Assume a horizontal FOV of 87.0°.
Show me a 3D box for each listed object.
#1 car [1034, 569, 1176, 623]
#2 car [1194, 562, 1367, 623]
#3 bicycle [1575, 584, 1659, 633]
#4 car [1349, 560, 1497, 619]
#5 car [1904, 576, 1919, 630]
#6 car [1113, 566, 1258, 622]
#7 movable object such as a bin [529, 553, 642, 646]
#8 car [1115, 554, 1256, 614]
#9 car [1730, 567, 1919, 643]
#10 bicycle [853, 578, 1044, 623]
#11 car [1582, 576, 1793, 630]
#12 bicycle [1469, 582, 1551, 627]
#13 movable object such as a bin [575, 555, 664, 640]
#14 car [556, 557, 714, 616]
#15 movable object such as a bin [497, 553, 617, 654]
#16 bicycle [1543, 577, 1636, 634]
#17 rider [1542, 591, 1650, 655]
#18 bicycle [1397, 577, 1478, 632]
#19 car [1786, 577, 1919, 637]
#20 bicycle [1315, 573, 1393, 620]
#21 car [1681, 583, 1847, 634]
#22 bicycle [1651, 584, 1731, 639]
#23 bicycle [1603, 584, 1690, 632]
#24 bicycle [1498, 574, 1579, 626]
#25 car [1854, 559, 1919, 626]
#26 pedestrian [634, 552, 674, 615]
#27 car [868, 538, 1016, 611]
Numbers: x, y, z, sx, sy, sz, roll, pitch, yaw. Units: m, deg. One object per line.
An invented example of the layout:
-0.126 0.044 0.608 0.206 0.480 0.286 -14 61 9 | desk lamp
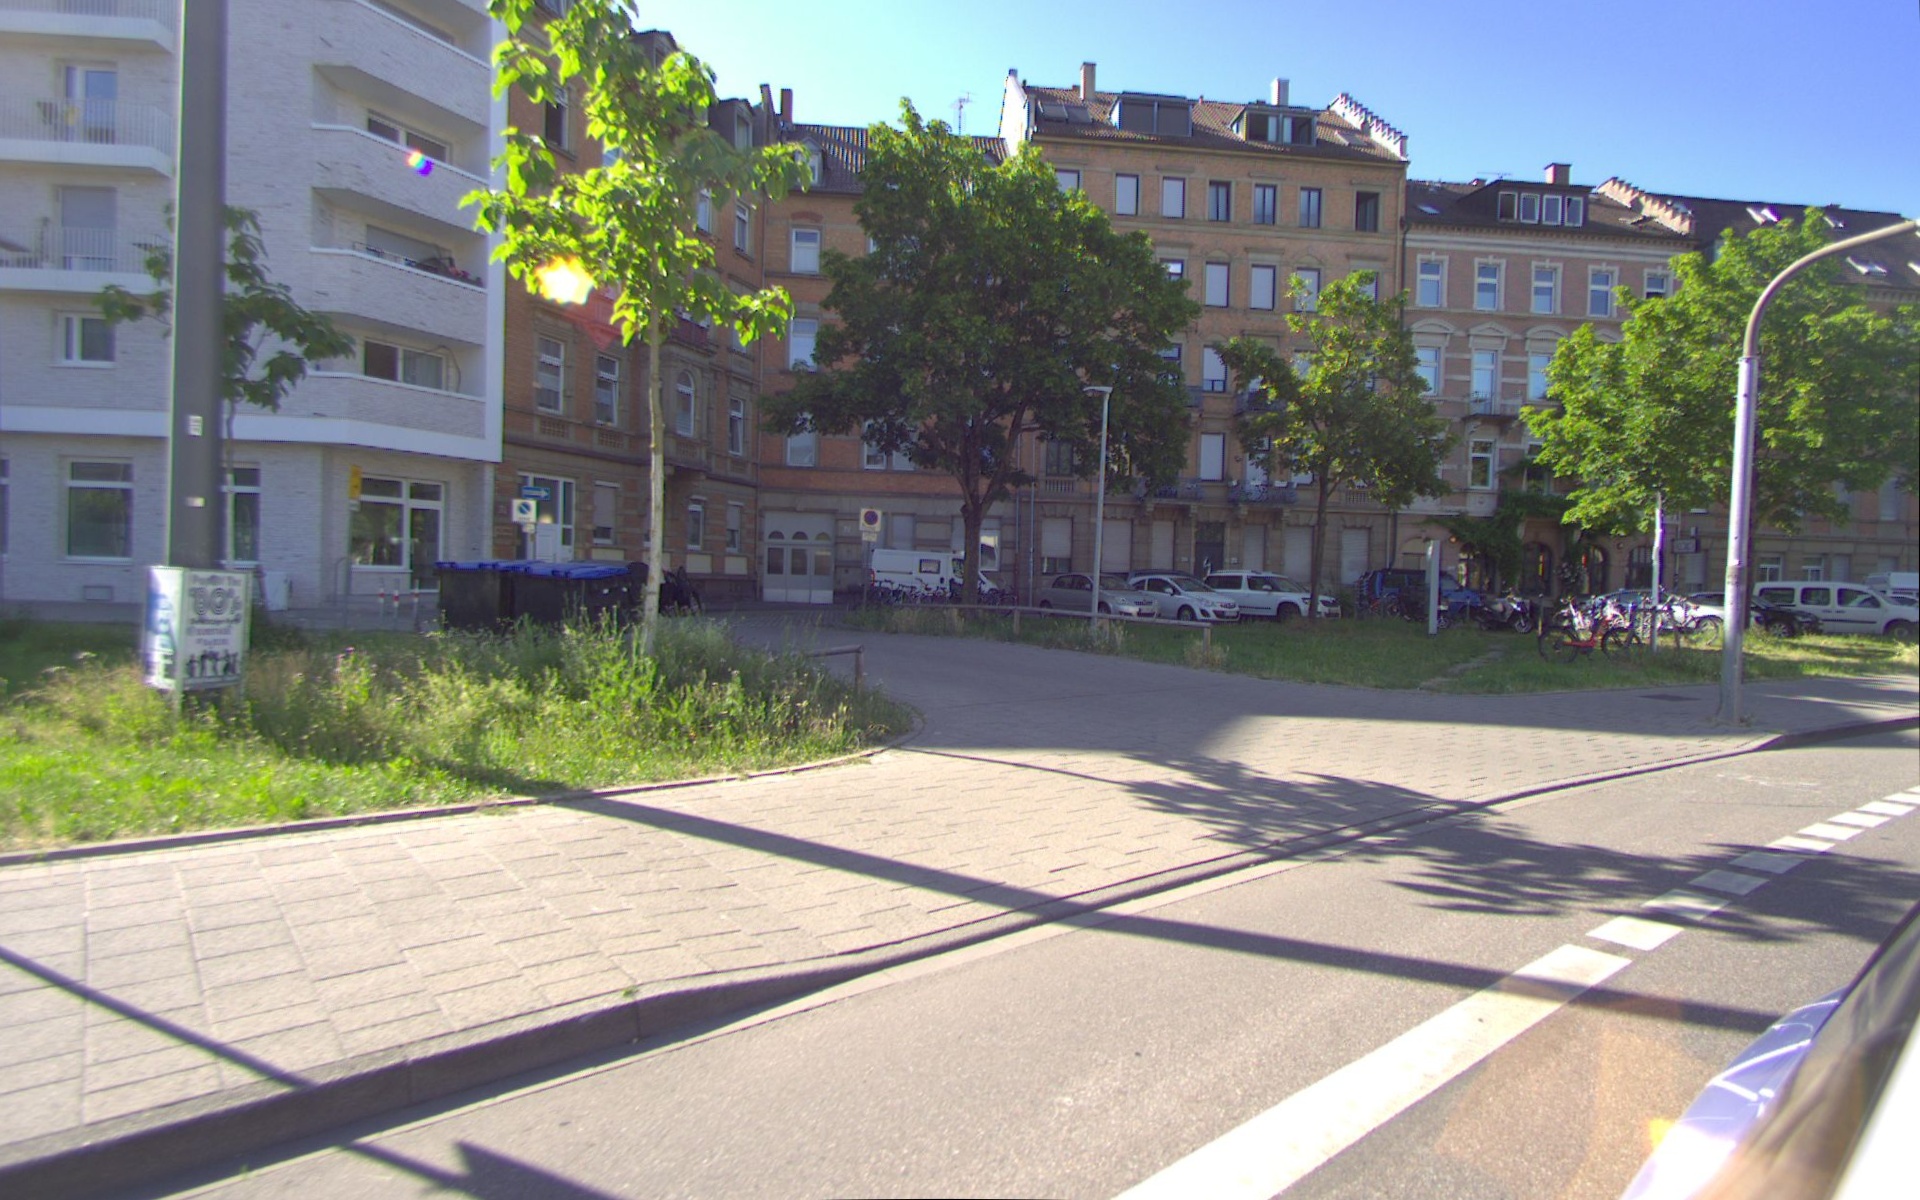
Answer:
3.961 -0.154 28.221 1.802 1.354 4.062 1 1 -29 | car
9.116 -0.261 29.114 1.901 1.585 4.471 1 1 -36 | car
17.786 0.204 27.459 0.824 1.206 1.967 1 3 -6 | bicycle
17.611 -0.439 38.608 4.630 2.001 2.003 2 3 -5 | car
33.245 0.203 32.036 1.962 1.748 4.516 -1 4 -34 | car
6.335 -0.208 28.805 1.727 1.459 3.844 1 1 -36 | car
-6.049 -0.022 16.403 1.302 1.416 1.106 2 1 15 | movable object such as a bin
8.344 -0.624 37.709 4.630 2.001 2.003 2 3 -5 | car
27.194 0.078 31.365 2.063 2.037 4.879 -1 4 -38 | car
-0.407 -0.001 29.185 5.114 1.141 2.688 1 1 -10 | bicycle
21.622 0.043 30.250 2.009 1.397 4.750 1 1 -38 | car
15.181 0.101 28.004 0.805 1.173 2.173 1 1 -9 | bicycle
-5.925 -0.059 17.644 1.075 1.416 1.027 2 1 15 | movable object such as a bin
-8.720 -0.385 27.501 1.977 1.454 4.078 1 1 22 | car
-6.013 0.030 15.153 1.285 1.416 1.067 2 1 15 | movable object such as a bin
16.027 0.108 25.827 0.771 1.382 2.104 1 1 -10 | bicycle
12.113 0.428 19.311 1.650 1.191 0.501 0 0 13 | rider
12.996 0.093 27.620 0.771 1.416 2.105 1 1 -16 | bicycle
29.815 0.219 32.320 2.060 1.667 4.884 -1 4 -34 | car
12.195 -0.133 31.368 2.094 1.382 0.775 2 1 45 | bicycle
24.429 0.226 30.825 1.890 1.397 3.612 1 1 -38 | car
18.521 0.270 25.688 1.588 1.306 0.760 3 2 35 | bicycle
18.683 0.191 27.600 0.882 1.195 1.954 1 3 -6 | bicycle
16.125 -0.024 28.279 0.771 1.382 2.104 1 1 -10 | bicycle
39.401 -0.267 41.030 4.424 2.616 2.002 2 2 -3 | car
-7.913 -0.443 26.154 0.766 1.596 0.635 2 1 33 | pedestrian
-0.711 -0.956 36.637 5.084 2.386 2.360 2 3 -4 | car
